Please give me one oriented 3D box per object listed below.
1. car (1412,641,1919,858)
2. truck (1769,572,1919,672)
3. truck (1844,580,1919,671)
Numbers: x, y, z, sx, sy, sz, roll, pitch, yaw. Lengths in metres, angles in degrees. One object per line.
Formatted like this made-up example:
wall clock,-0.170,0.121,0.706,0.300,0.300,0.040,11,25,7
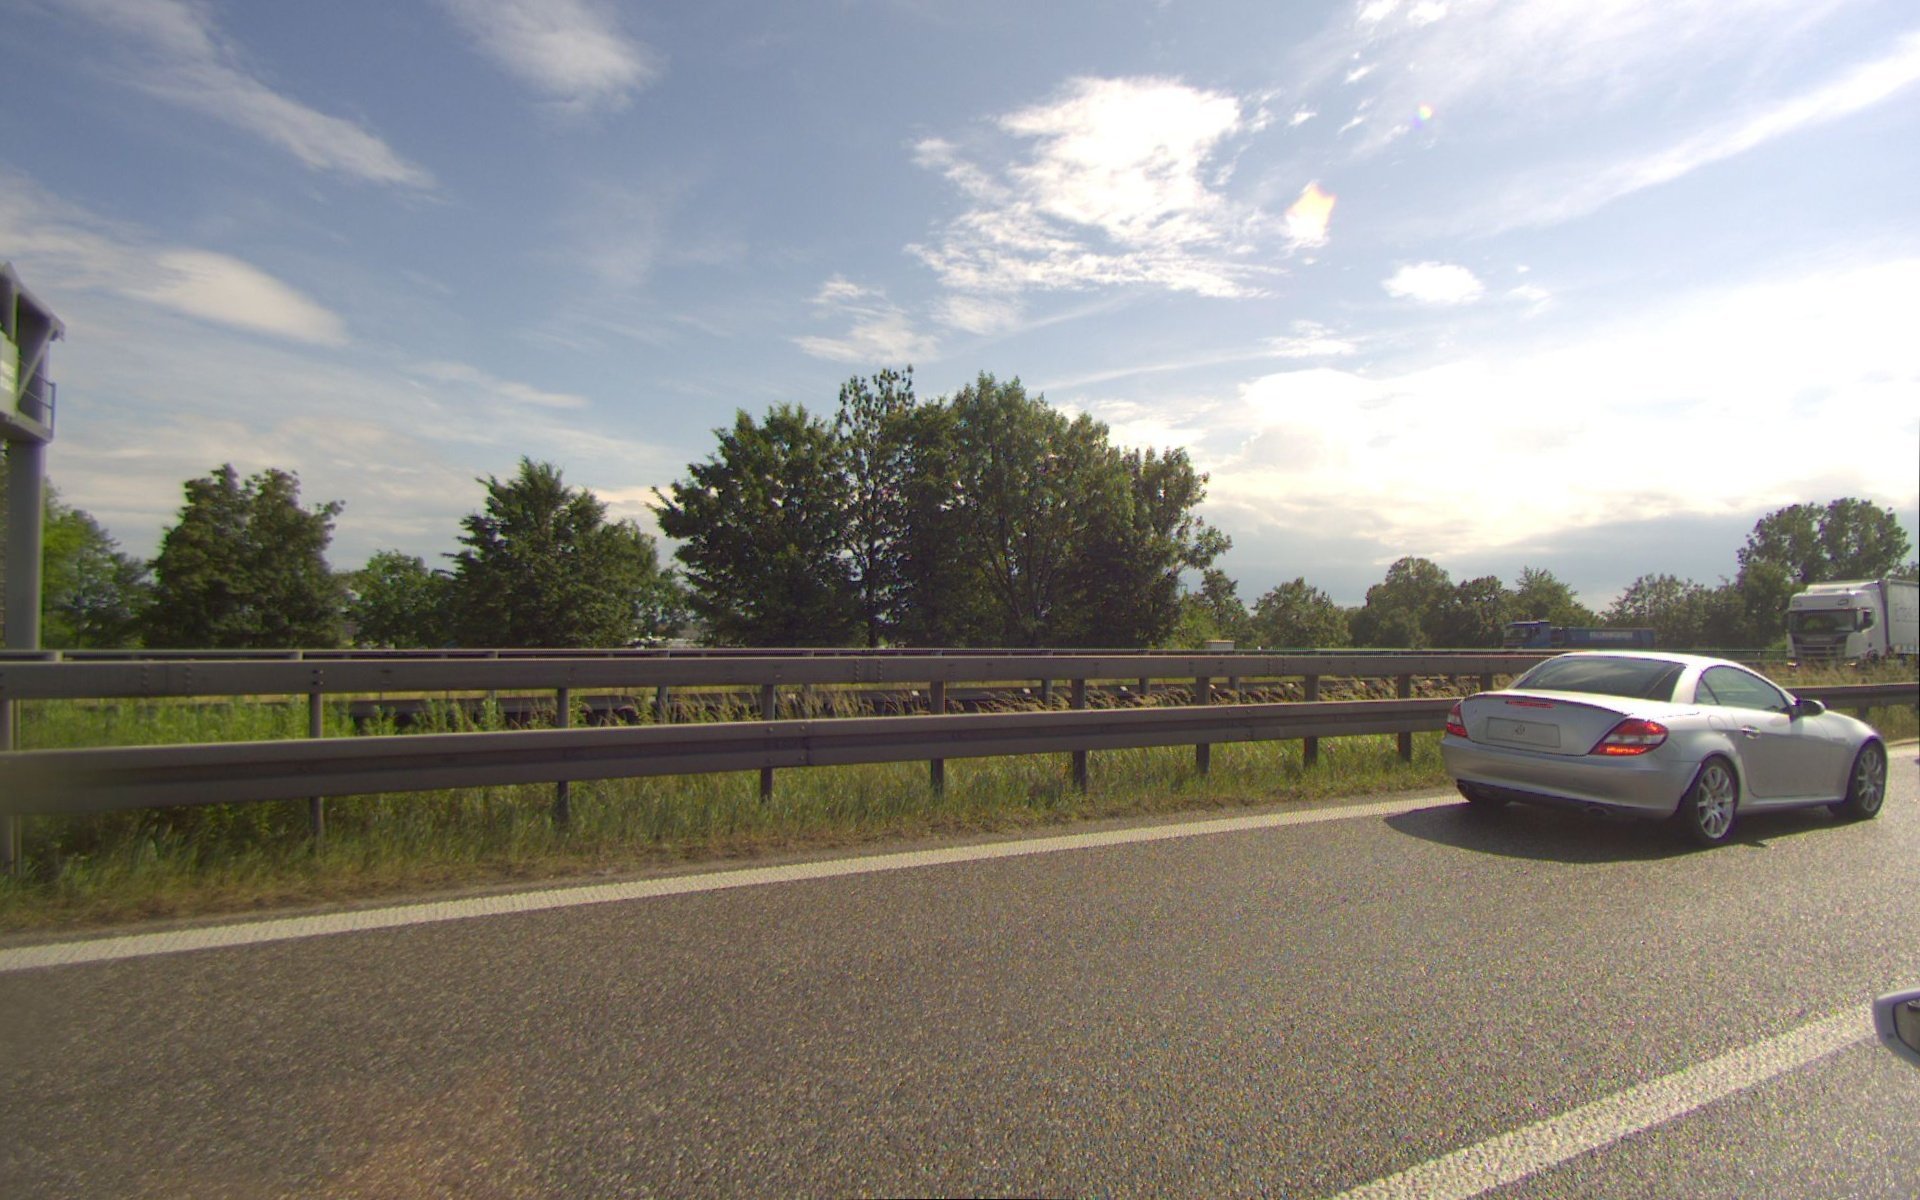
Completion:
car,5.667,1.010,7.989,4.013,1.295,1.717,1,-1,-29
truck,37.882,1.017,42.561,7.782,3.871,2.850,3,-1,-29
truck,44.658,1.285,46.329,9.308,3.903,2.836,3,-1,-29
